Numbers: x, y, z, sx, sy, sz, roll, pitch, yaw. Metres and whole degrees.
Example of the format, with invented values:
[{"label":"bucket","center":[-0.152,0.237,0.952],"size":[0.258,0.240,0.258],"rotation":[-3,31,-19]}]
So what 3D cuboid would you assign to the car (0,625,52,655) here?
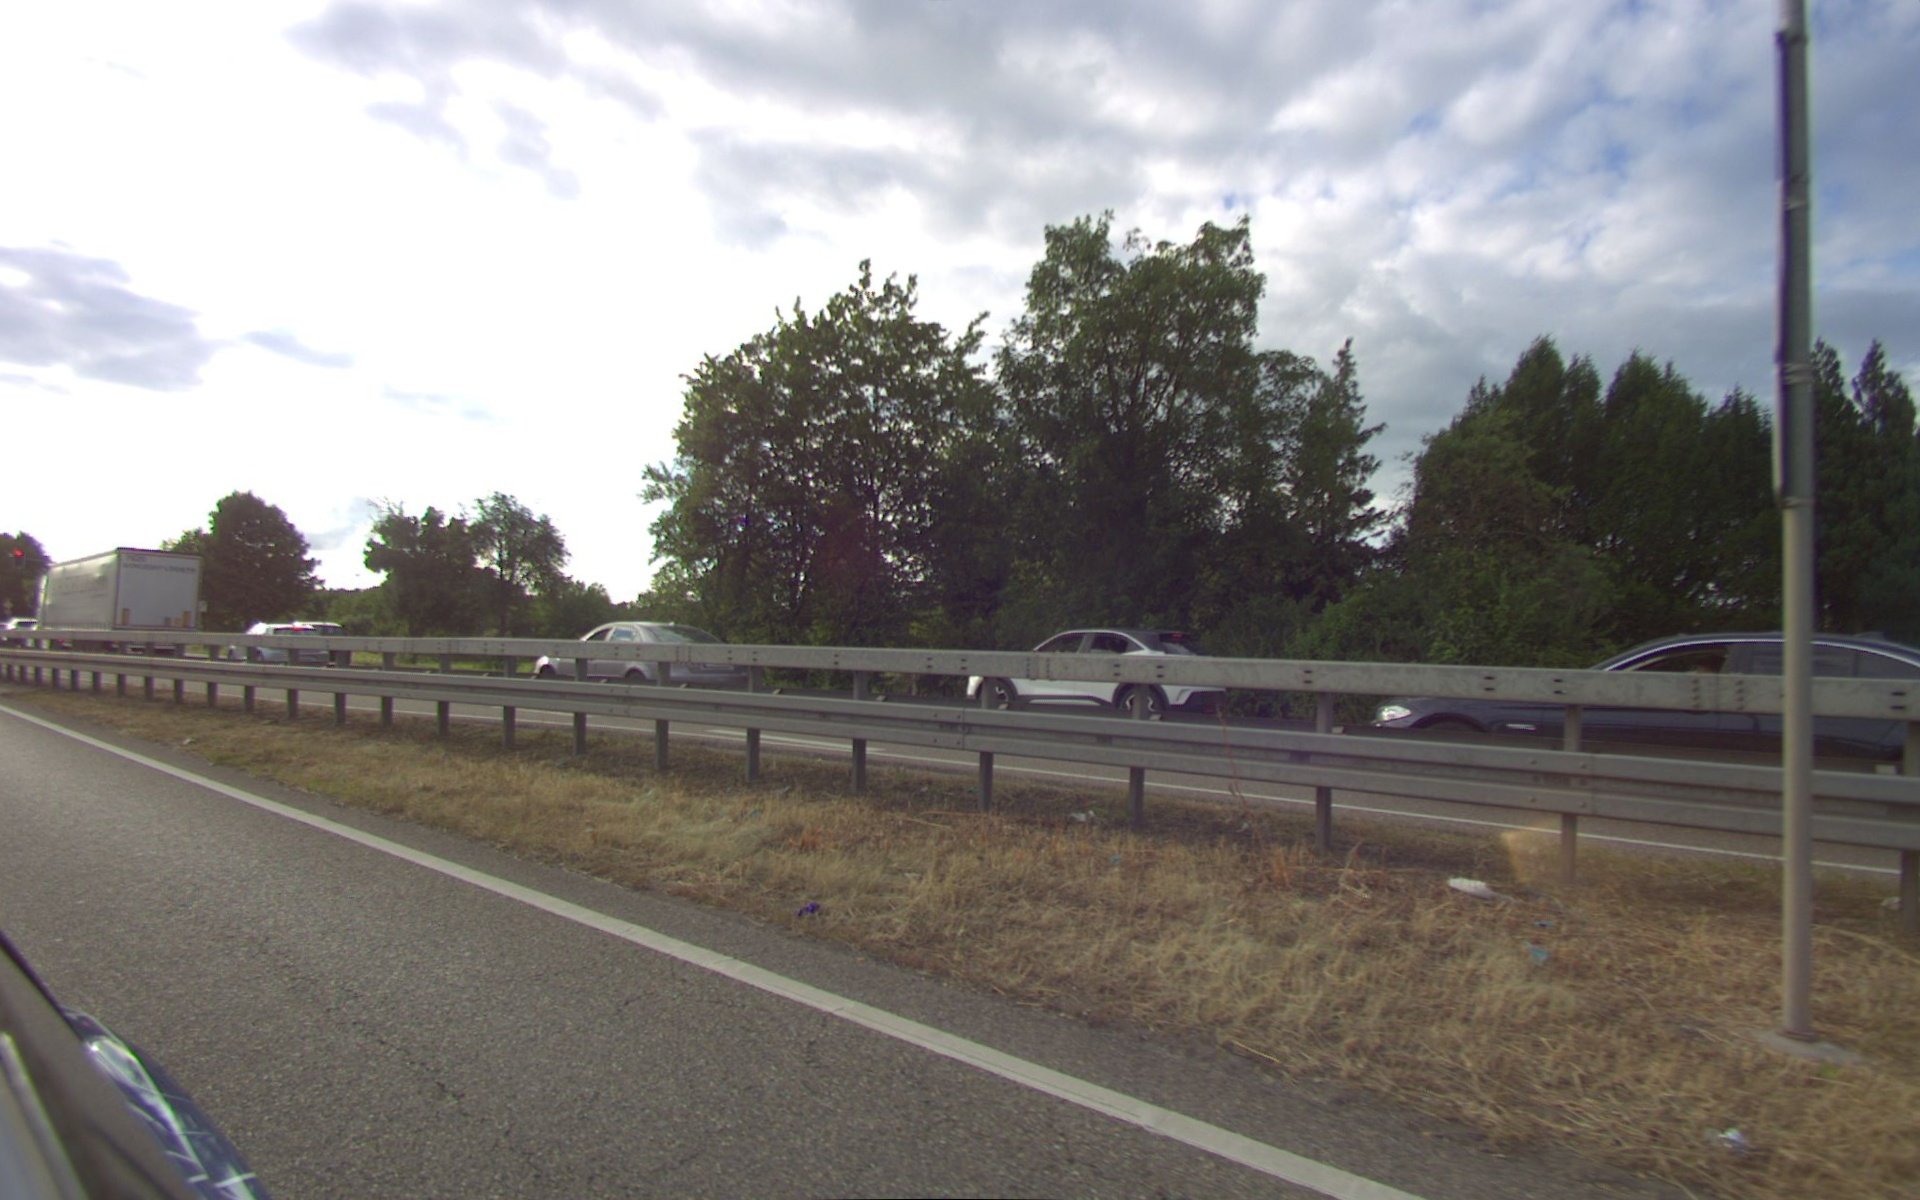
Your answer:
[{"label":"car","center":[-52.642,2.224,56.760],"size":[4.400,1.622,1.888],"rotation":[-1,-3,39]}]

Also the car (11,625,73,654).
[{"label":"car","center":[-47.160,2.024,51.963],"size":[4.156,1.455,1.771],"rotation":[-1,-3,39]}]

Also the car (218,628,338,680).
[{"label":"car","center":[-19.987,1.544,29.617],"size":[4.156,1.396,1.771],"rotation":[-1,-3,39]}]

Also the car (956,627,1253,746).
[{"label":"car","center":[2.122,1.221,15.436],"size":[4.147,1.576,1.848],"rotation":[-1,-3,39]}]

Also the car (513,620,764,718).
[{"label":"car","center":[-5.715,1.126,17.665],"size":[4.821,1.489,1.848],"rotation":[-1,-3,40]}]

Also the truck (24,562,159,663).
[{"label":"truck","center":[-38.956,0.635,45.353],"size":[6.044,4.182,3.440],"rotation":[-1,-4,40]}]

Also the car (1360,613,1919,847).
[{"label":"car","center":[5.918,0.881,7.828],"size":[4.930,1.489,1.848],"rotation":[-1,-3,40]}]

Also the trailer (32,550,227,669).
[{"label":"trailer","center":[-34.309,0.547,41.458],"size":[13.903,4.182,3.430],"rotation":[-1,-4,40]}]

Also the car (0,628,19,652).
[{"label":"car","center":[-59.996,2.446,62.594],"size":[5.147,1.439,1.888],"rotation":[-1,-3,40]}]

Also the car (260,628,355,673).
[{"label":"car","center":[-24.352,1.859,37.738],"size":[4.156,1.585,1.771],"rotation":[-1,-3,39]}]
